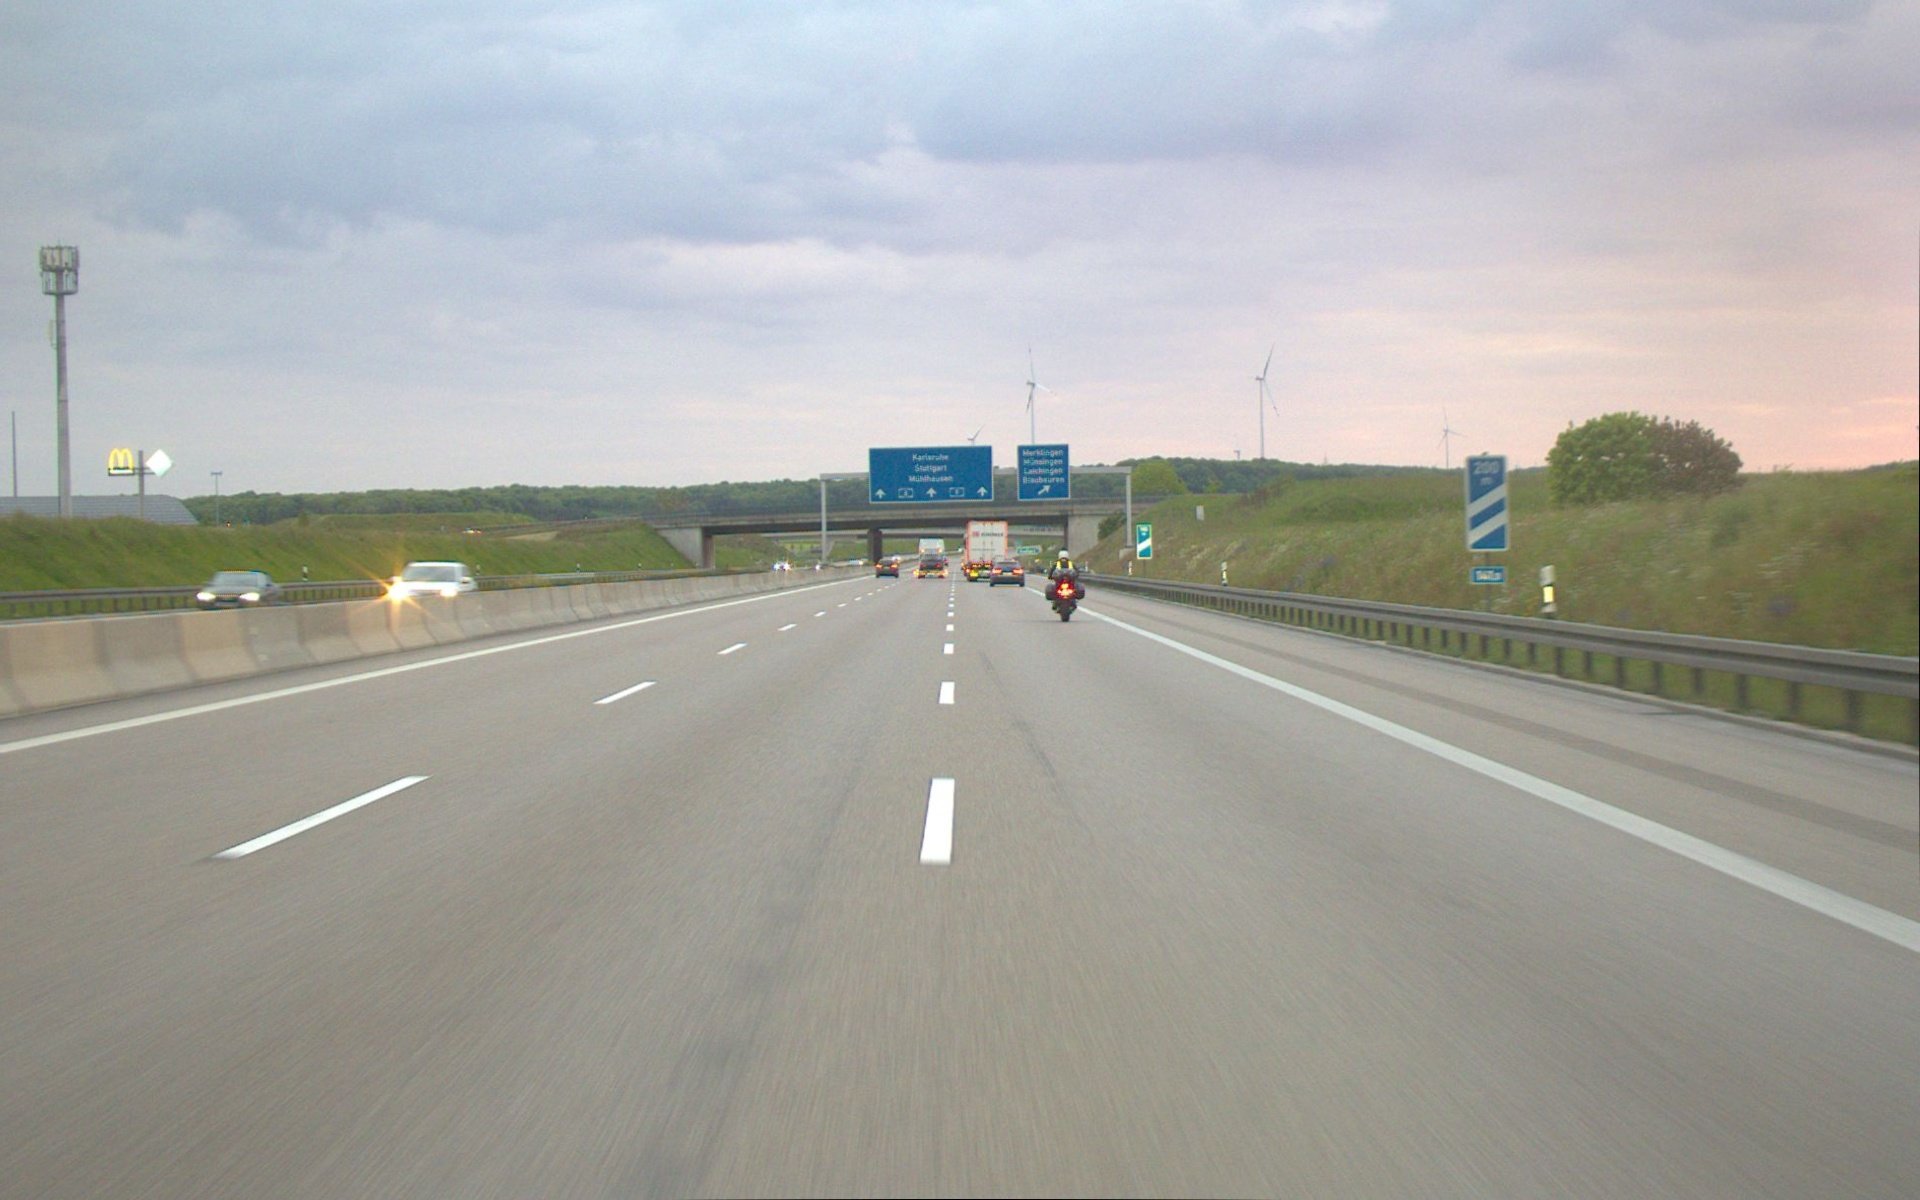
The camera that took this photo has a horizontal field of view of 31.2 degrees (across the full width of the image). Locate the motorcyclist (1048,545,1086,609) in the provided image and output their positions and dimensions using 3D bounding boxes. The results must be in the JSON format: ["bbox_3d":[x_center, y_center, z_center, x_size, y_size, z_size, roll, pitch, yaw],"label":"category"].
[{"bbox_3d":[2.540,-0.558,81.499,0.866,1.482,1.168,1,1,2],"label":"motorcyclist"}]

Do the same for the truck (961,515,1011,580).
[{"bbox_3d":[1.760,-3.576,231.963,3.234,4.213,9.599,1,1,0],"label":"truck"}]

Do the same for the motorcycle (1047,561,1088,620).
[{"bbox_3d":[2.549,-0.245,81.694,0.902,1.342,2.349,0,2,0],"label":"motorcycle"}]

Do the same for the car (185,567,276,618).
[{"bbox_3d":[-20.929,-0.240,98.712,1.738,1.388,4.343,0,1,-1],"label":"car"}]

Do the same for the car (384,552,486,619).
[{"bbox_3d":[-14.007,-0.421,91.947,1.993,1.729,5.183,0,1,-1],"label":"car"}]

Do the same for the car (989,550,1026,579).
[{"bbox_3d":[2.620,-1.954,189.189,1.918,1.574,4.000,0,1,-1],"label":"car"}]
